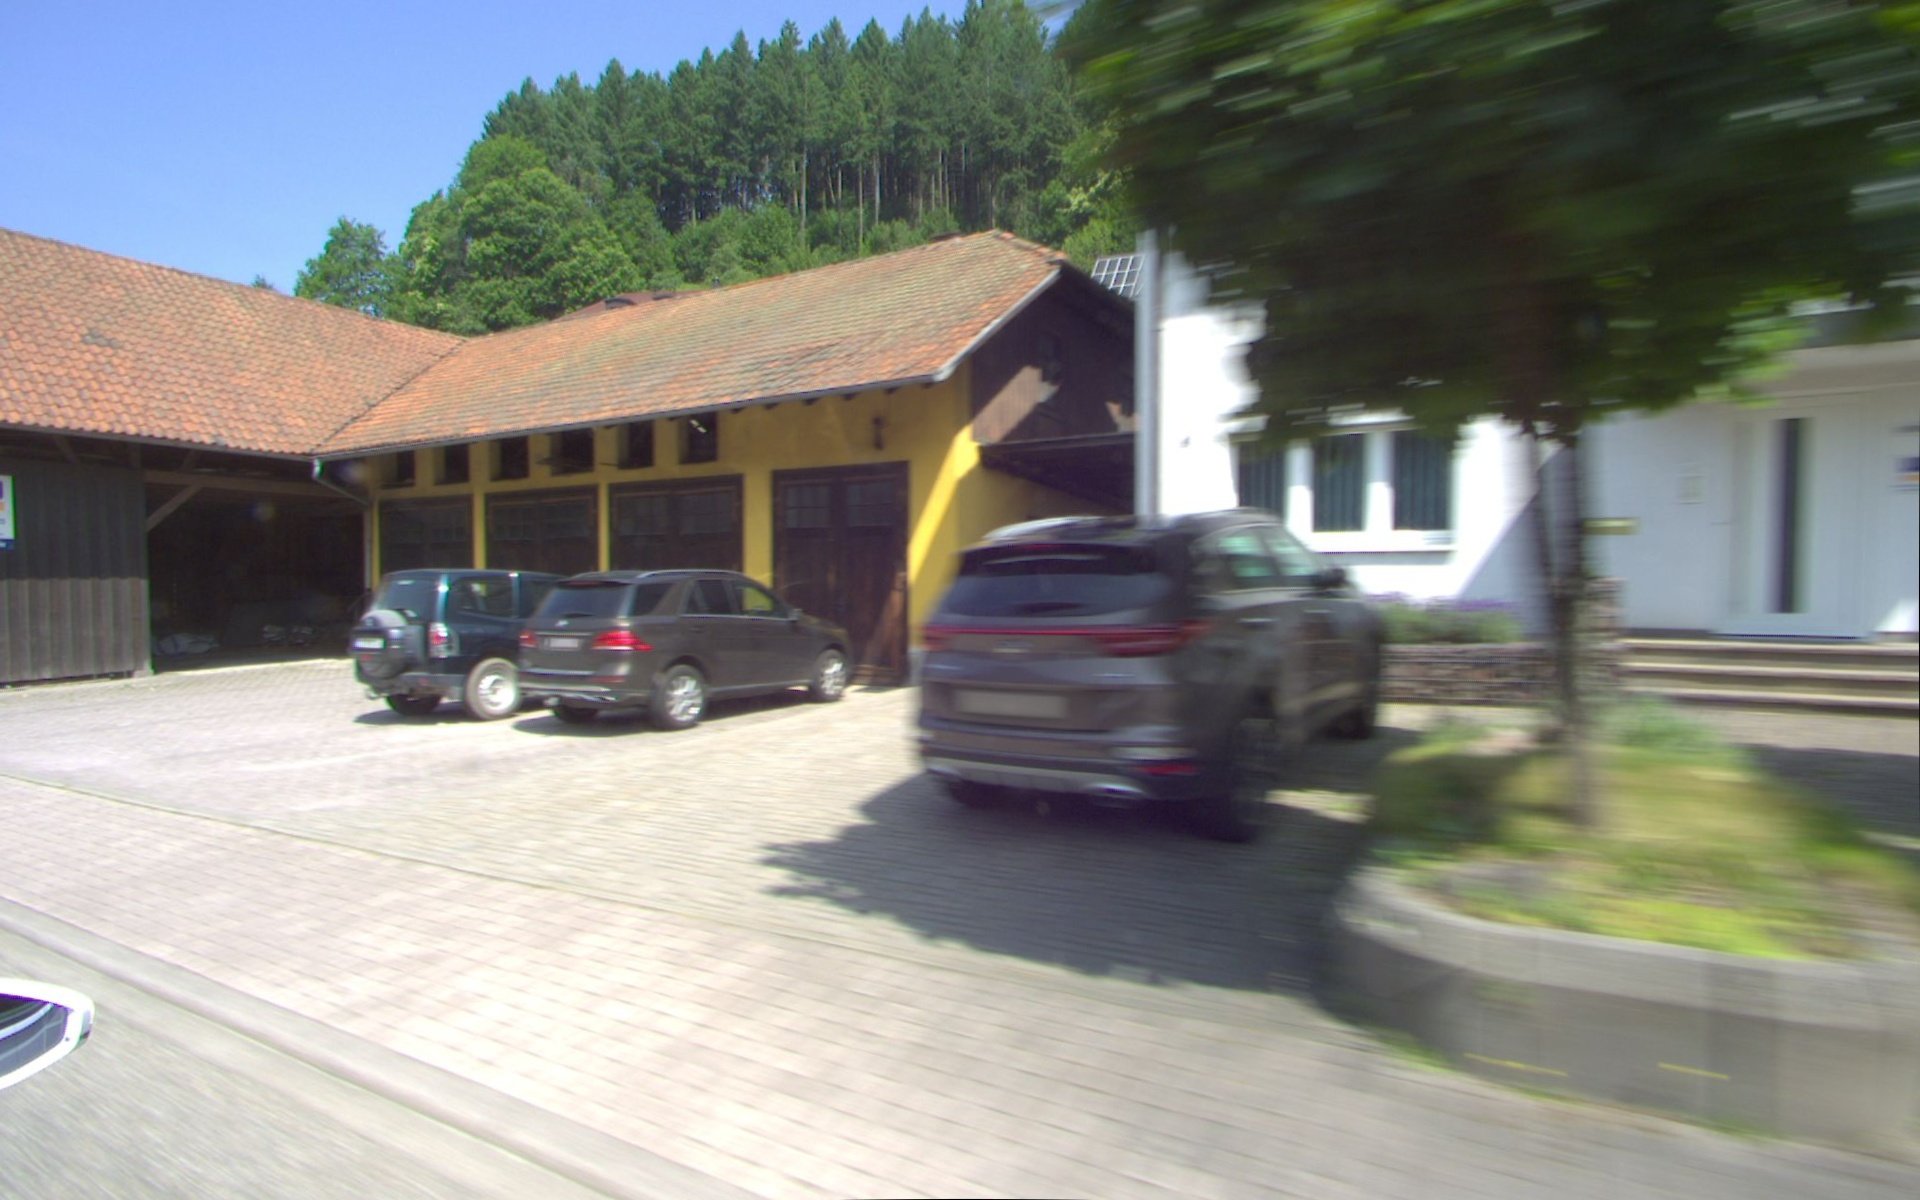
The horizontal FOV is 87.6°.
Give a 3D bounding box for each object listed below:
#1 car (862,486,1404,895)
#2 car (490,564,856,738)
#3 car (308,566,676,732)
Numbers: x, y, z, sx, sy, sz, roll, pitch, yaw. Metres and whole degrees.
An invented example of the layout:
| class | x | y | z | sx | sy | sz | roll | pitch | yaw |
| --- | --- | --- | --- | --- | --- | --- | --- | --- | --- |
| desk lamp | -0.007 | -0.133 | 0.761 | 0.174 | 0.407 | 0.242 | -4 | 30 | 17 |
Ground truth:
| class | x | y | z | sx | sy | sz | roll | pitch | yaw |
| --- | --- | --- | --- | --- | --- | --- | --- | --- | --- |
| car | 1.449 | 0.209 | 6.370 | 1.753 | 1.711 | 4.204 | -1 | 5 | 35 |
| car | -3.347 | 0.489 | 12.668 | 1.922 | 1.783 | 4.415 | -1 | 1 | 27 |
| car | -6.027 | 0.515 | 13.449 | 1.924 | 1.857 | 4.122 | -1 | 1 | 28 |
